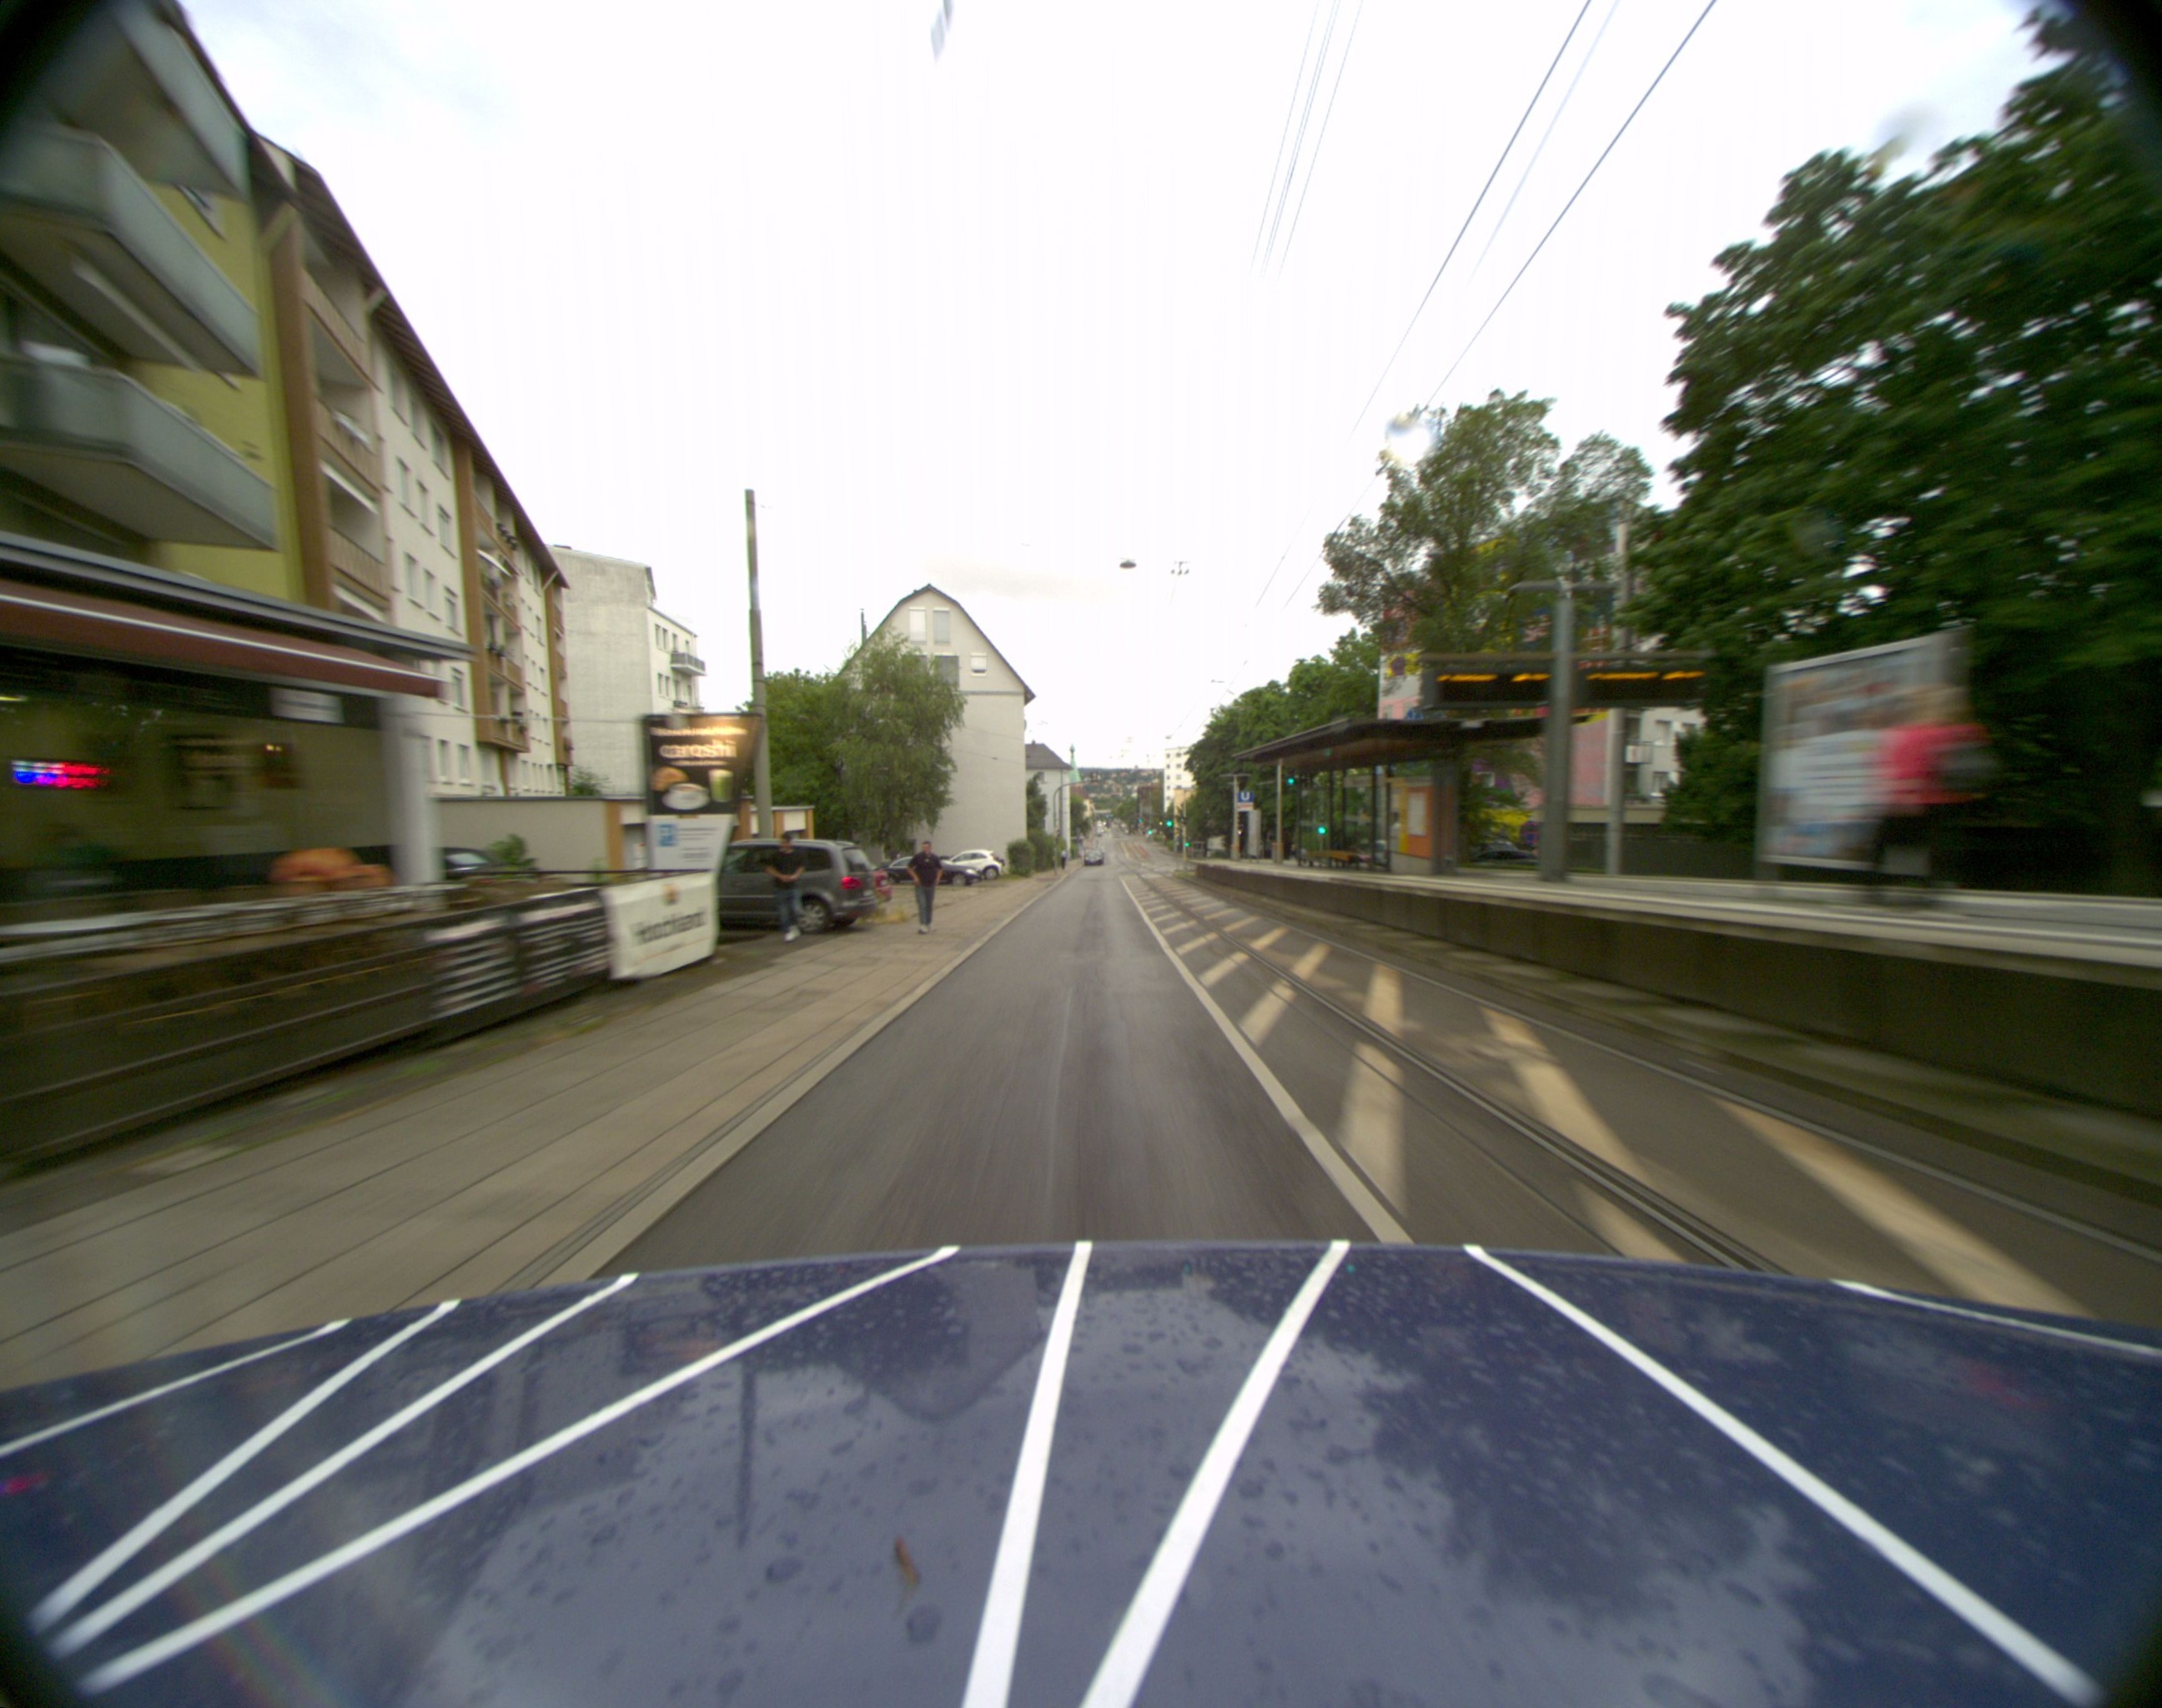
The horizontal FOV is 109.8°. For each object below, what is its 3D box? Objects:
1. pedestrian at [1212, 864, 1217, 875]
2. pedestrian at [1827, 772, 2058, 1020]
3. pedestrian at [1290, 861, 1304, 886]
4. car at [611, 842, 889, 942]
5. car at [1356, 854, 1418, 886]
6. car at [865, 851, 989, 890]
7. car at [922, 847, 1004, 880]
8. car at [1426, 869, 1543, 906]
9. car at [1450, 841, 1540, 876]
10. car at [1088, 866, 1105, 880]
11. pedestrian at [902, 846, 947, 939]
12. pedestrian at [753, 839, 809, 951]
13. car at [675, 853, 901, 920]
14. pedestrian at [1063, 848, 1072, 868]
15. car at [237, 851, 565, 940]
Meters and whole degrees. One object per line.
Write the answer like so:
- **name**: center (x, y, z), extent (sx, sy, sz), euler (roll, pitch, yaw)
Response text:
- **pedestrian**: center (17.084, 1.992, 97.590), extent (0.529, 1.418, 0.529), euler (-2, 1, 4)
- **pedestrian**: center (5.725, 0.265, 5.104), extent (0.672, 1.539, 0.771), euler (0, 0, 1)
- **pedestrian**: center (14.397, 1.298, 50.684), extent (0.754, 1.584, 0.617), euler (-2, 1, 4)
- **car**: center (-5.957, 0.655, 14.015), extent (4.338, 1.664, 1.781), euler (1, 0, 3)
- **car**: center (17.357, 0.851, 43.342), extent (1.751, 1.707, 4.441), euler (0, 0, 0)
- **car**: center (-6.701, 0.705, 33.472), extent (4.943, 1.429, 1.974), euler (-2, 2, 2)
- **car**: center (-6.048, 0.457, 39.392), extent (3.998, 1.460, 1.814), euler (-1, 6, -3)
- **car**: center (18.094, 1.489, 34.320), extent (4.483, 1.533, 1.948), euler (0, 0, 22)
- **car**: center (22.294, 0.191, 41.050), extent (1.714, 1.629, 3.943), euler (-1, 3, -28)
- **car**: center (1.642, 1.985, 79.730), extent (1.725, 1.350, 4.000), euler (-1, 0, 3)
- **pedestrian**: center (-2.934, 0.710, 14.282), extent (0.721, 1.704, 0.608), euler (1, 1, -5)
- **pedestrian**: center (-4.734, 0.629, 12.027), extent (0.580, 1.704, 0.614), euler (-2, 1, -2)
- **car**: center (-6.733, 0.720, 17.775), extent (4.580, 1.429, 1.765), euler (1, 1, 1)
- **pedestrian**: center (-1.065, 0.321, 59.845), extent (0.657, 1.611, 0.630), euler (0, 1, 7)
- **car**: center (-12.454, 0.711, 14.109), extent (4.523, 1.394, 1.780), euler (1, 4, 3)
